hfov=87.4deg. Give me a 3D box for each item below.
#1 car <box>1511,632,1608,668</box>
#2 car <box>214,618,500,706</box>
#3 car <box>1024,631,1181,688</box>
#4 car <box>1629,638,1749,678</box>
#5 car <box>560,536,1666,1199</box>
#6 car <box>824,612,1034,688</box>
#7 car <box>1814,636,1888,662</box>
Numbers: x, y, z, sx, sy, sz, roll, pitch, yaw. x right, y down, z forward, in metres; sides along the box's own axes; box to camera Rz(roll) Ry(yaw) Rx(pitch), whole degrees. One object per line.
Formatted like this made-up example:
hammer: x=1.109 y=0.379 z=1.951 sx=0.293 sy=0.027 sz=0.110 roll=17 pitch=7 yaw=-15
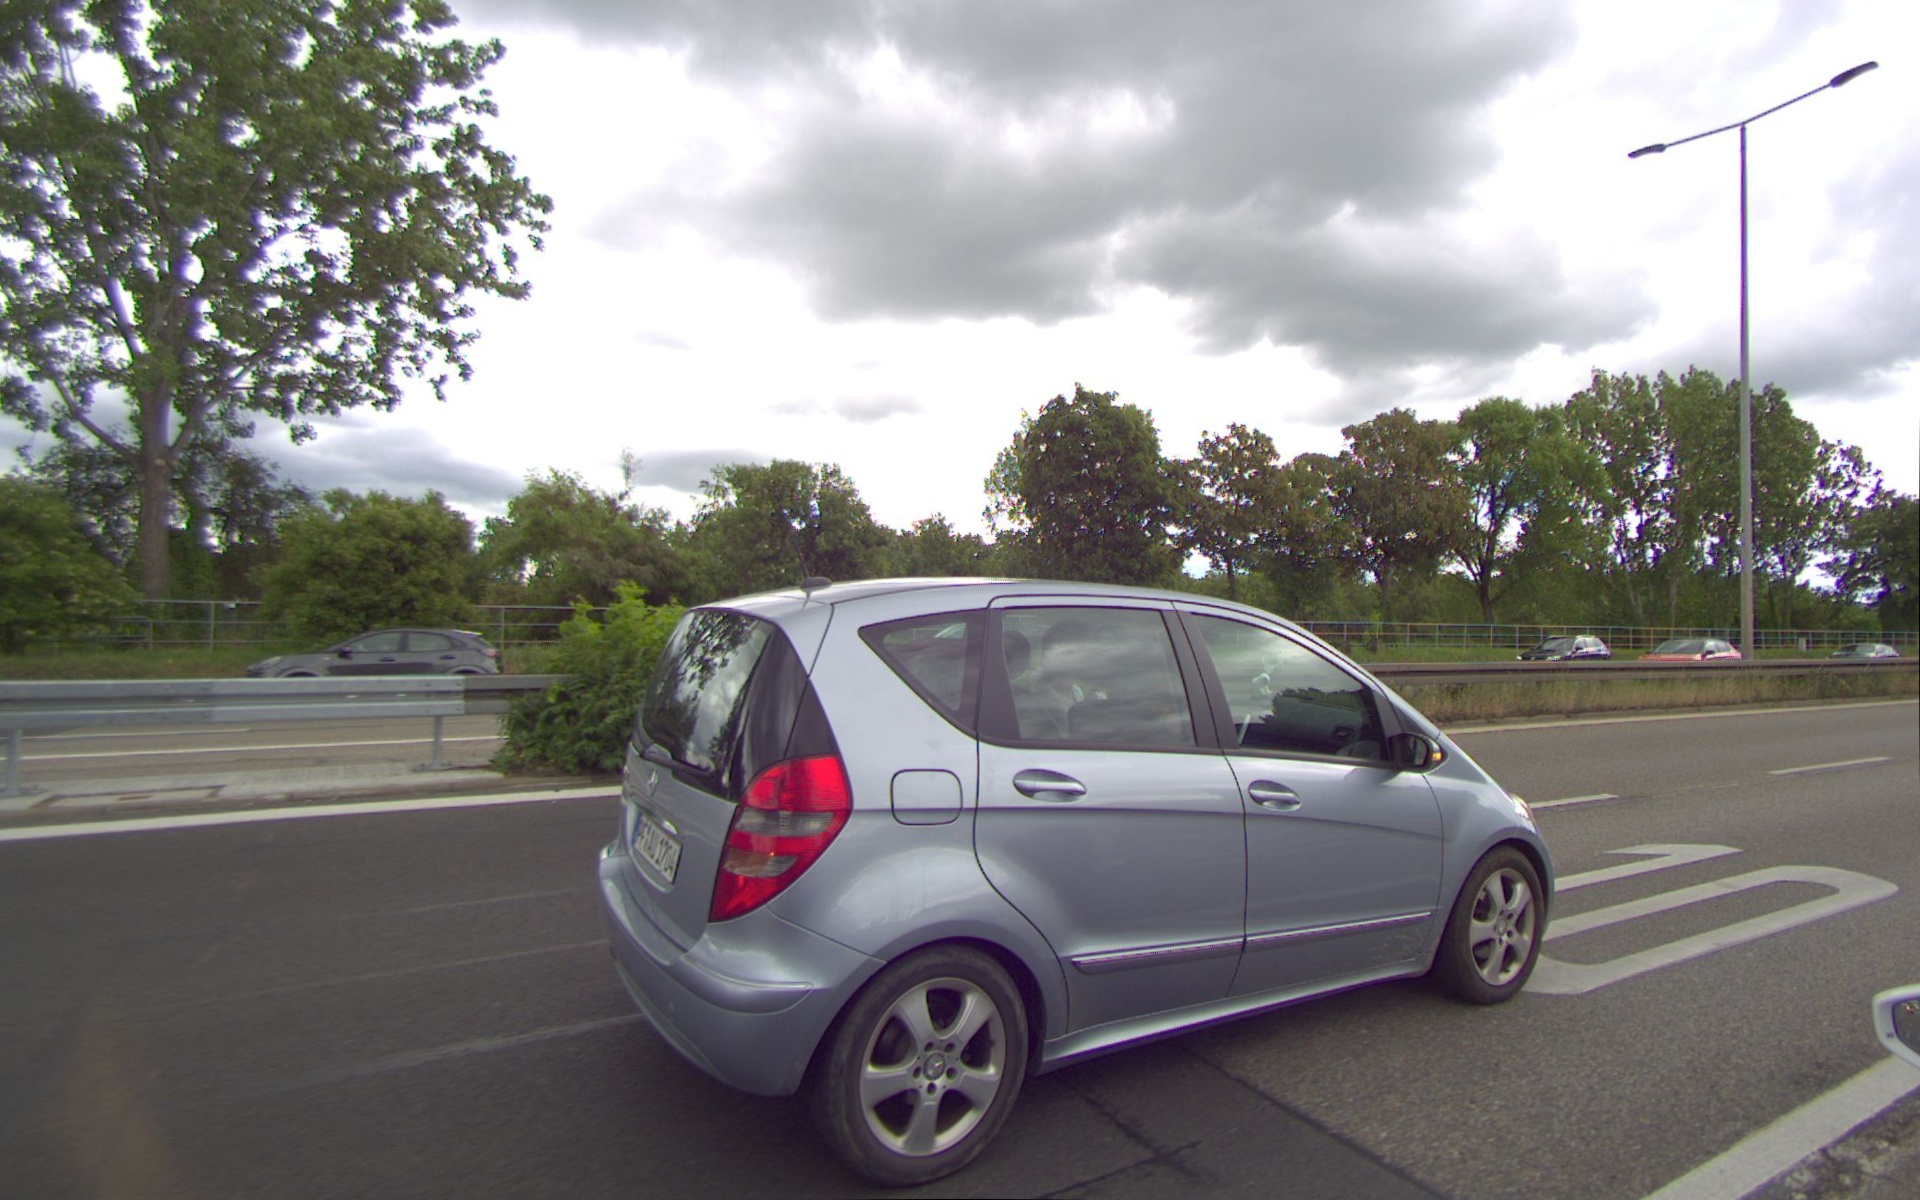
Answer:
car: x=23.637 y=1.946 z=39.568 sx=4.014 sy=1.316 sz=1.571 roll=1 pitch=-1 yaw=-30
car: x=-11.023 y=1.086 z=18.616 sx=4.320 sy=1.437 sz=1.915 roll=1 pitch=-1 yaw=-32
car: x=3.888 y=1.569 z=27.250 sx=4.019 sy=1.437 sz=1.768 roll=1 pitch=-1 yaw=-30
car: x=22.610 y=1.758 z=31.117 sx=4.019 sy=1.120 sz=1.538 roll=1 pitch=-1 yaw=-30
car: x=0.757 y=0.695 z=3.965 sx=4.099 sy=1.559 sz=1.869 roll=1 pitch=-1 yaw=-31
car: x=-0.621 y=0.998 z=20.922 sx=4.019 sy=1.437 sz=1.768 roll=1 pitch=-1 yaw=-30
car: x=47.583 y=2.587 z=53.629 sx=4.733 sy=1.316 sz=1.651 roll=1 pitch=-1 yaw=-32
